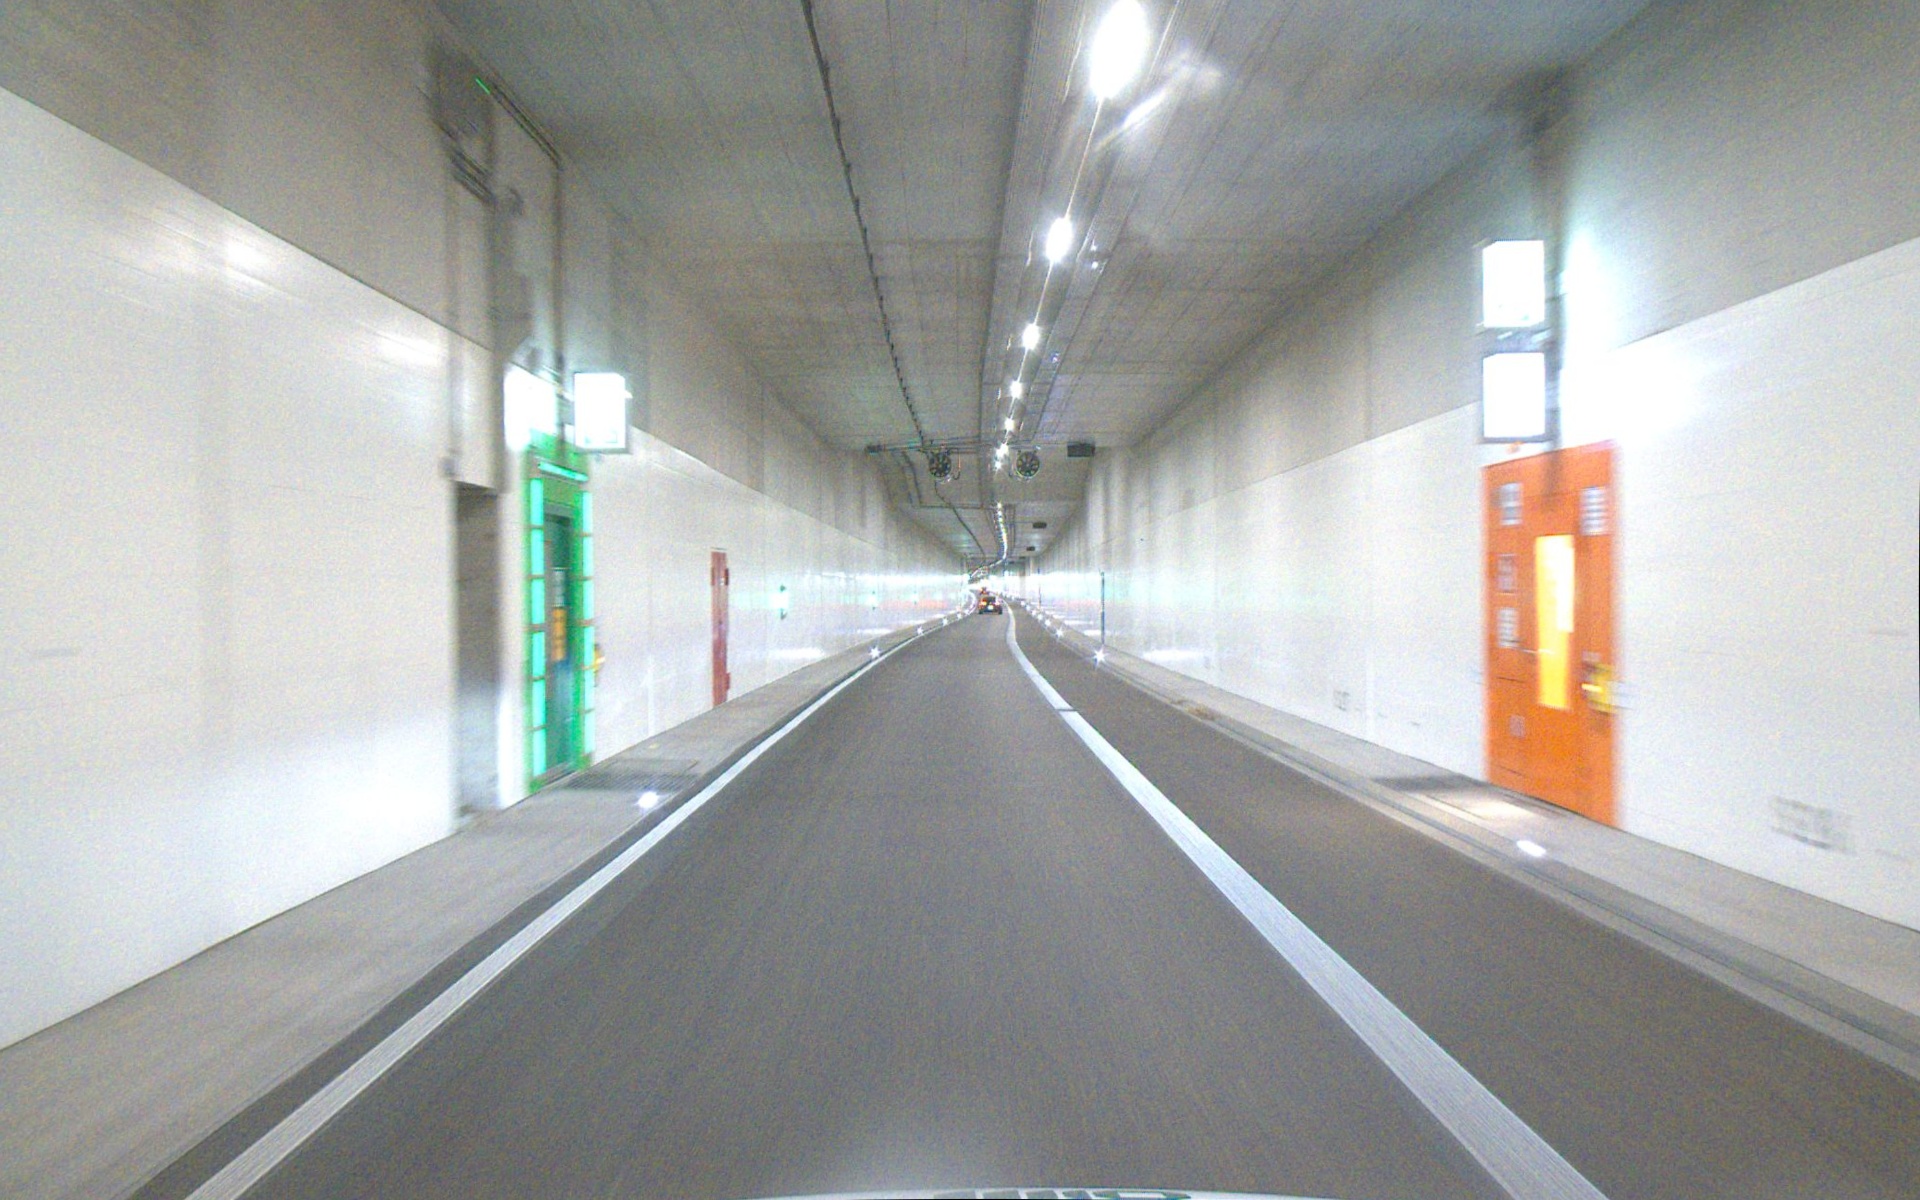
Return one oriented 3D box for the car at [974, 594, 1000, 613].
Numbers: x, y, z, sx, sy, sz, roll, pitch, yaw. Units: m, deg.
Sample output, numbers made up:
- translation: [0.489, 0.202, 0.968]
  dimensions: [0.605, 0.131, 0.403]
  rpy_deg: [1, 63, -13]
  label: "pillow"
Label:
- translation: [2.165, 0.278, 131.897]
  dimensions: [1.953, 1.445, 3.999]
  rpy_deg: [1, 0, -1]
  label: "car"
